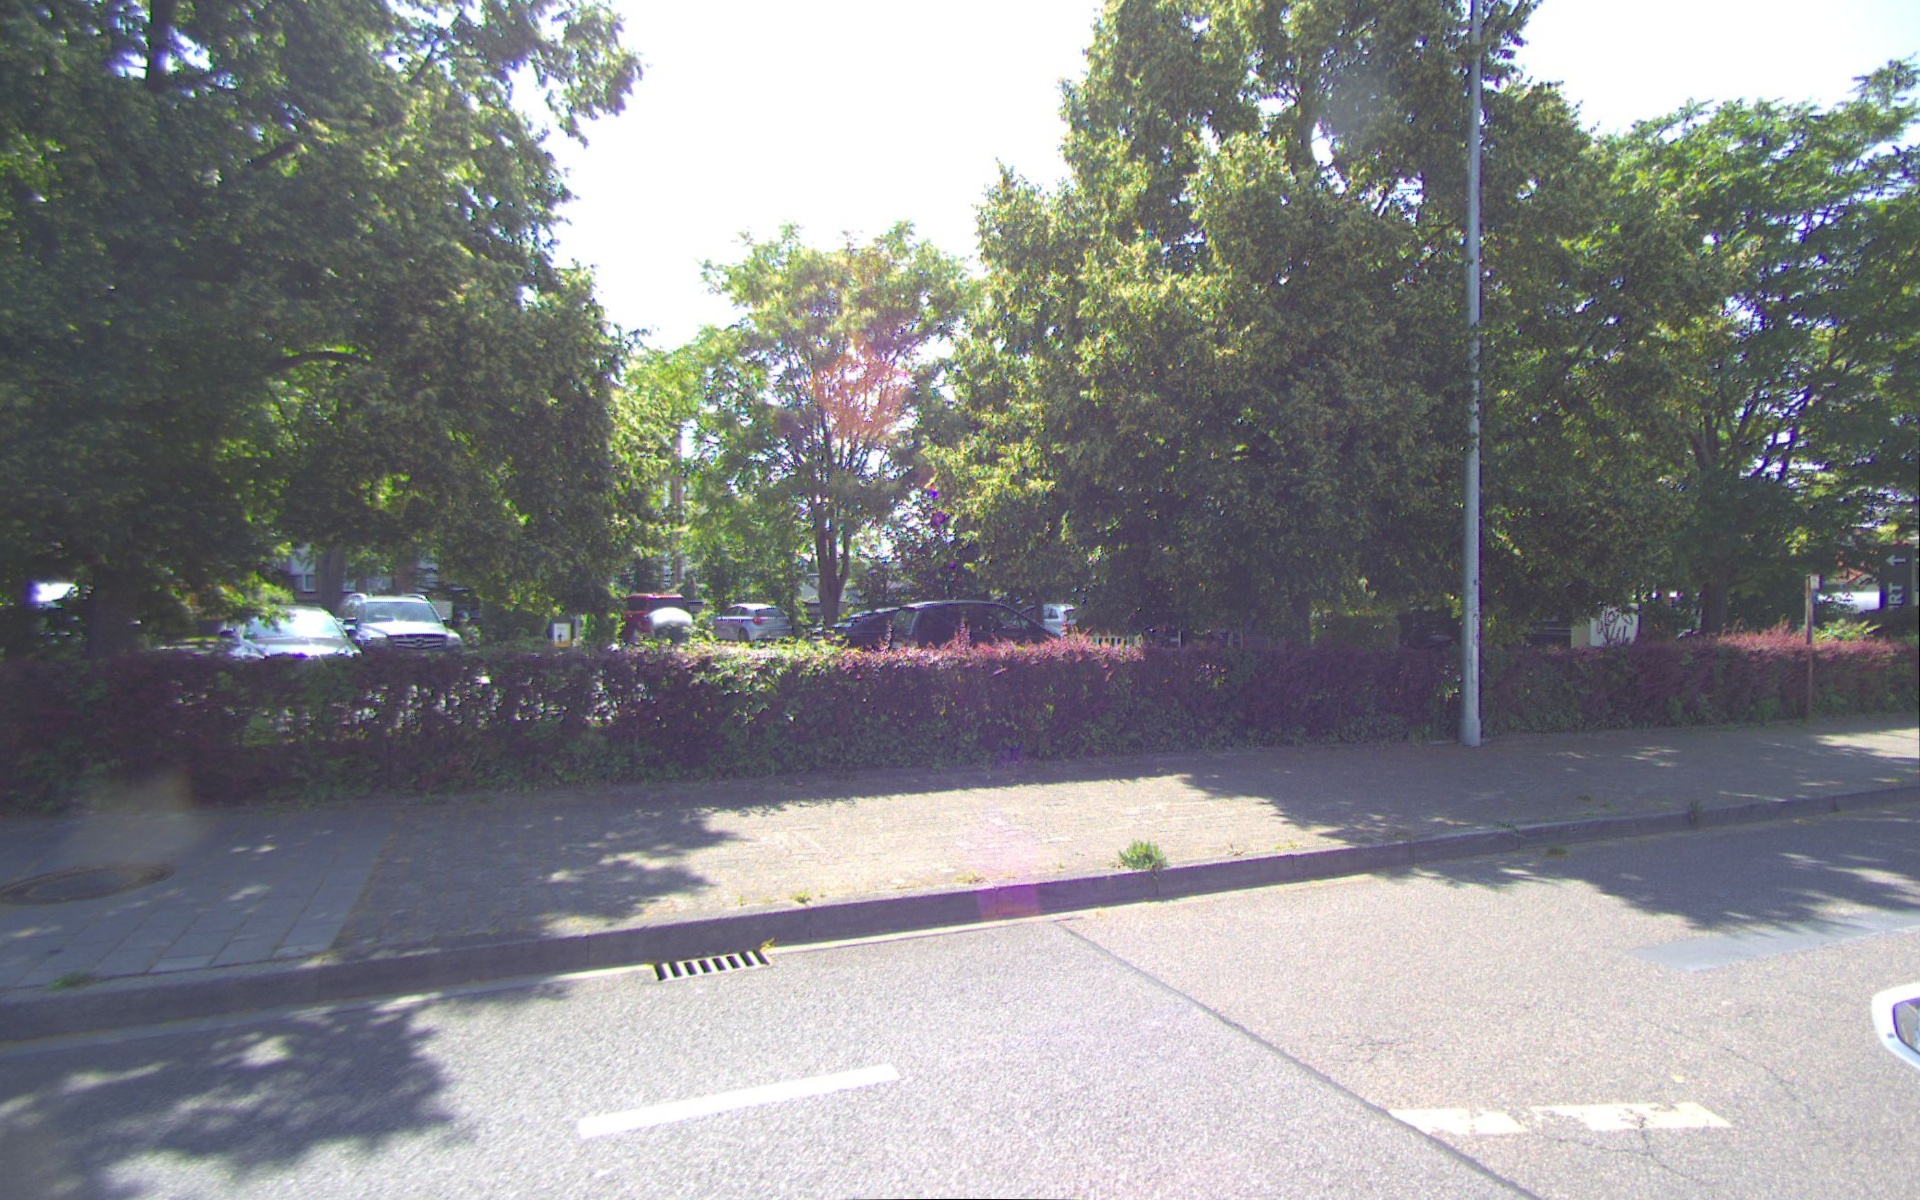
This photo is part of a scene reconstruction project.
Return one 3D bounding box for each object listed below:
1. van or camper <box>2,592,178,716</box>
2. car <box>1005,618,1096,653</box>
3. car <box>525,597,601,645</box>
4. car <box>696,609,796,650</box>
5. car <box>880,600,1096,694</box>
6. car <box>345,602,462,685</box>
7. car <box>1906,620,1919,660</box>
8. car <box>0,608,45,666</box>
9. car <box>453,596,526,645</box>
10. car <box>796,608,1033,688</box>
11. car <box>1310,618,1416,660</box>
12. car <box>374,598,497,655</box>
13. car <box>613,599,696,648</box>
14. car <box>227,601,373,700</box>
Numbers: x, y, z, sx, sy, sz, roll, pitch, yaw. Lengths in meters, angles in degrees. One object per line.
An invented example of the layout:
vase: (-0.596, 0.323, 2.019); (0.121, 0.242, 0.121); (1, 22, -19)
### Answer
van or camper: (-14.253, 0.794, 16.654); (1.983, 1.763, 4.237); (1, -1, -39)
car: (3.047, 1.177, 34.484); (1.391, 1.104, 3.361); (1, -1, -32)
car: (-14.365, 0.726, 36.215); (1.779, 1.619, 3.963); (1, -1, -33)
car: (-7.561, 1.011, 35.335); (1.575, 1.356, 3.947); (1, -1, -45)
car: (0.510, 0.829, 18.793); (3.699, 1.624, 1.679); (1, -1, -20)
car: (-11.593, 0.827, 20.815); (1.724, 1.546, 3.961); (1, -1, -35)
car: (44.289, 1.797, 45.277); (1.968, 1.751, 3.984); (0, -1, 37)
car: (-24.326, 0.888, 24.132); (3.314, 1.394, 1.574); (1, -1, -37)
car: (-16.520, 0.702, 35.162); (1.779, 1.619, 3.963); (1, -1, -33)
car: (-0.934, 0.943, 20.808); (4.590, 1.530, 1.778); (1, -1, -24)
car: (13.515, 1.282, 33.903); (1.607, 1.317, 3.599); (0, -1, -12)
car: (-15.109, 0.748, 29.131); (1.471, 1.546, 3.435); (0, -1, 7)
car: (-10.787, 0.803, 35.336); (1.779, 1.619, 3.963); (1, -1, -33)
car: (-11.308, 0.772, 17.105); (1.876, 1.479, 3.959); (1, -1, -36)
